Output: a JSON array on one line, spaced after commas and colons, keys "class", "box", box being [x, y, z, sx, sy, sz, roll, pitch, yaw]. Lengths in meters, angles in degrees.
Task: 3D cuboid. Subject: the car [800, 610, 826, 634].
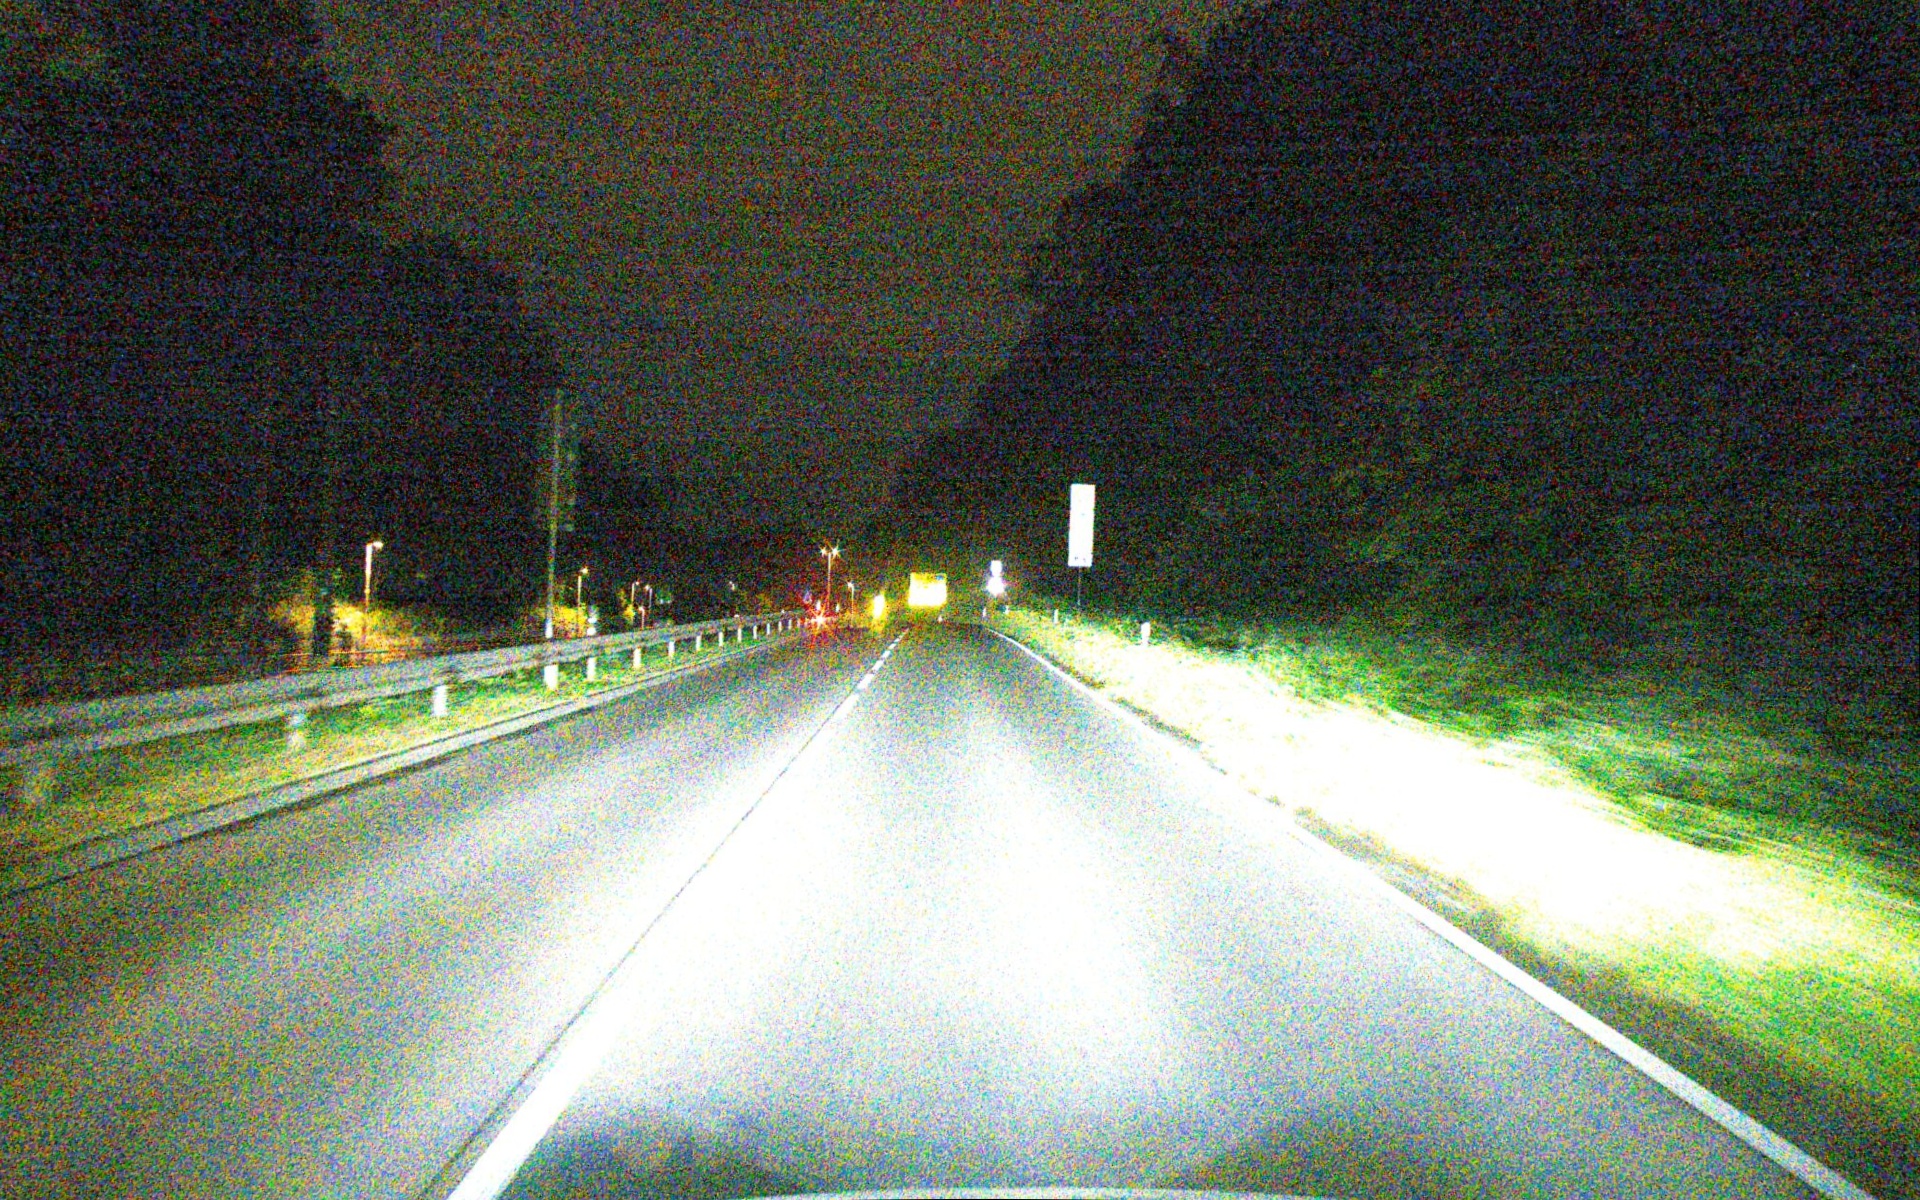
[{"class": "car", "box": [-13.742, 2.064, 154.380, 1.958, 2.049, 3.989, 4, -3, -10]}]
